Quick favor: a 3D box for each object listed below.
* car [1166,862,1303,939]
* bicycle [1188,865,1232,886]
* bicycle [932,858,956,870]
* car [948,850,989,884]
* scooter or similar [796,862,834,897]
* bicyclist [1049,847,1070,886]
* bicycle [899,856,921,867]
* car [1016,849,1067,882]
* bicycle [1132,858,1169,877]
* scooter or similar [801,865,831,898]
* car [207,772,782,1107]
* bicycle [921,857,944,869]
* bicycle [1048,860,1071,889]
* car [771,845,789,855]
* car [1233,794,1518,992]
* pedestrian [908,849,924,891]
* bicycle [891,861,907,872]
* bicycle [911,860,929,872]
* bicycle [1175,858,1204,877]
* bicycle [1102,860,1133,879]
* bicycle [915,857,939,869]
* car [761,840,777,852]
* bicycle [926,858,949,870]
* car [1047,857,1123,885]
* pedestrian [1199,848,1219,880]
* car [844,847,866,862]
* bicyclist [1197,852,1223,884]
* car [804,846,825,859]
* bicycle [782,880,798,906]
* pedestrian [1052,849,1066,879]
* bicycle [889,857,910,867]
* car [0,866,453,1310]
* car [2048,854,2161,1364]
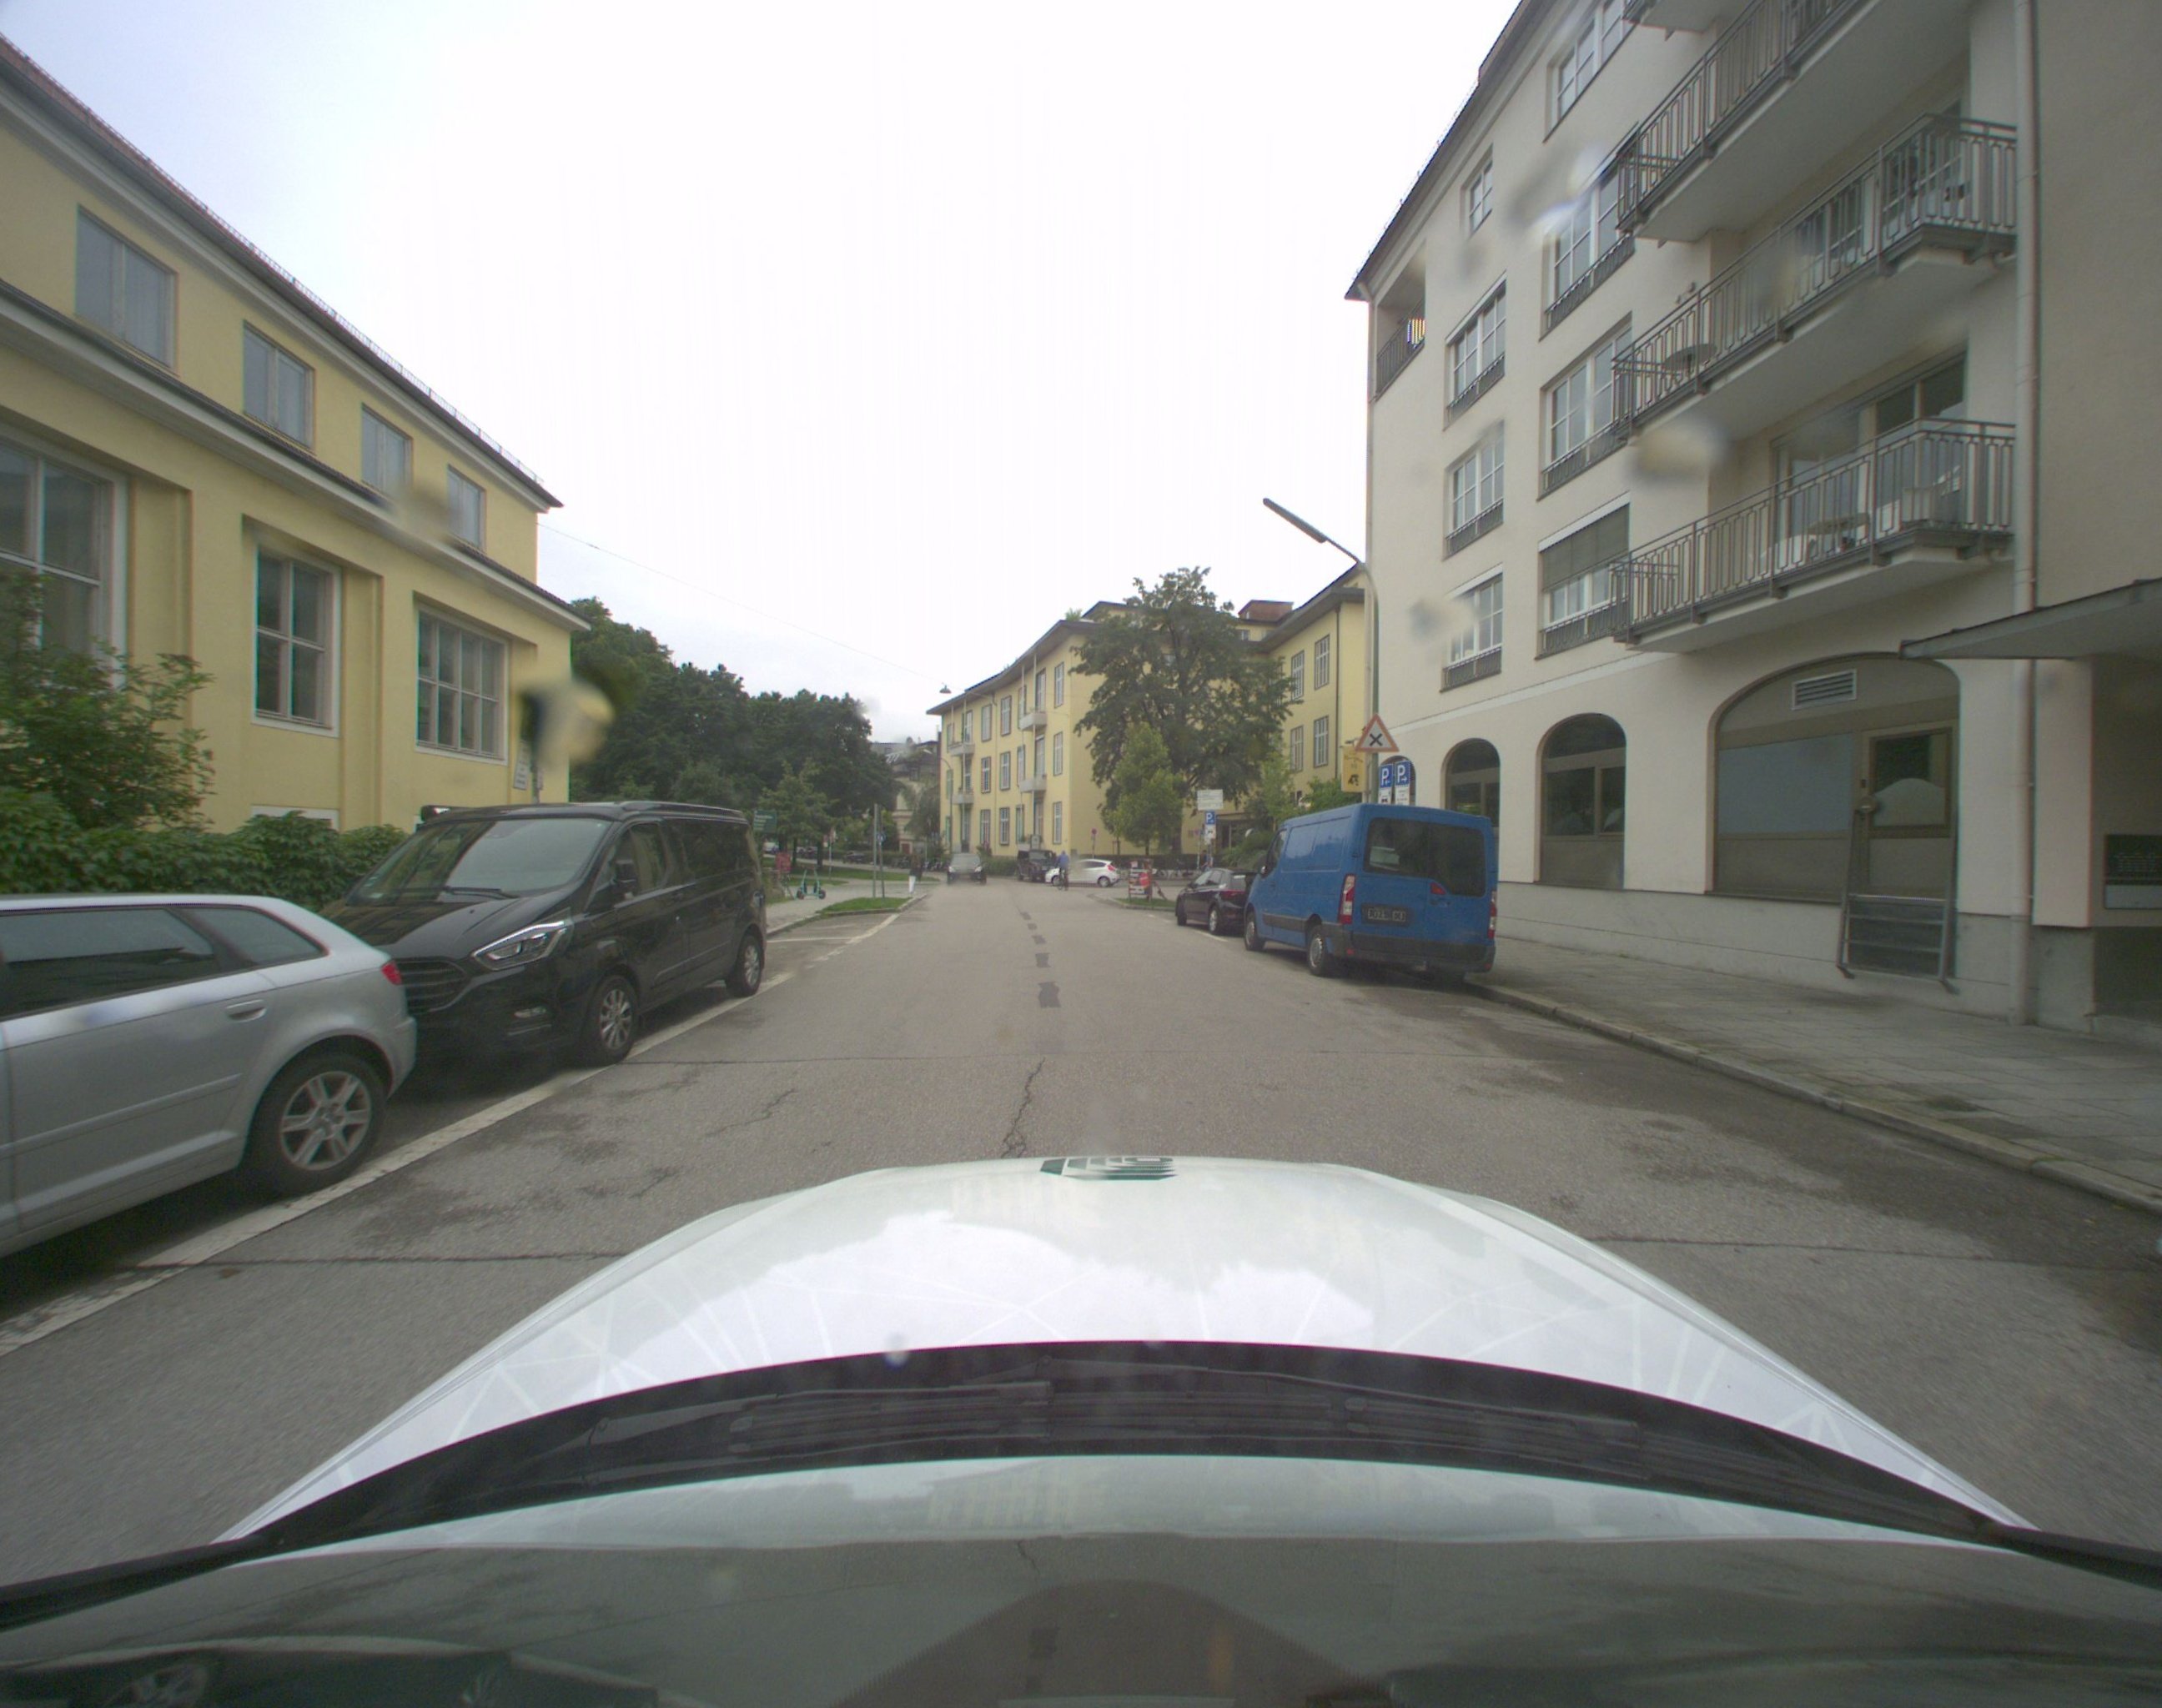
[{"bbox_3d":[3.307,0.968,18.336,1.714,1.394,3.987,4,0,-9],"label":"car"},{"bbox_3d":[6.672,1.092,41.977,2.198,1.019,0.870,0,1,-31],"label":"bicycle"},{"bbox_3d":[-11.638,0.839,69.347,1.989,1.028,0.611,0,0,-44],"label":"bicycle"},{"bbox_3d":[-6.068,0.638,43.473,1.994,1.719,4.598,0,1,-11],"label":"car"},{"bbox_3d":[-9.743,0.936,29.840,1.254,1.244,0.395,0,-2,5],"label":"scooter or similar"},{"bbox_3d":[-1.019,0.560,38.027,0.910,1.764,1.216,0,0,1],"label":"bicyclist"},{"bbox_3d":[-16.221,0.717,77.213,1.989,1.028,0.611,0,0,-44],"label":"bicycle"},{"bbox_3d":[-2.441,0.655,49.072,1.879,1.887,4.588,0,1,-20],"label":"car"},{"bbox_3d":[4.202,0.782,48.899,2.154,1.115,0.642,0,0,10],"label":"bicycle"},{"bbox_3d":[-9.953,1.043,30.588,0.434,1.213,1.059,-1,-2,26],"label":"scooter or similar"},{"bbox_3d":[-4.453,0.489,7.349,1.921,1.979,4.617,-3,1,-3],"label":"car"},{"bbox_3d":[-12.910,0.786,70.835,1.989,1.028,0.611,0,0,-44],"label":"bicycle"},{"bbox_3d":[-0.986,0.937,37.979,0.917,1.252,2.323,0,1,2],"label":"bicycle"},{"bbox_3d":[-48.347,-0.699,130.798,2.007,1.600,4.212,0,1,-31],"label":"car"},{"bbox_3d":[4.037,0.538,12.331,2.105,2.214,5.021,5,-2,-4],"label":"car"},{"bbox_3d":[-6.920,0.666,34.119,0.543,1.697,0.662,-2,0,-18],"label":"pedestrian"},{"bbox_3d":[-17.568,1.204,78.448,0.404,1.014,1.547,0,1,43],"label":"bicycle"},{"bbox_3d":[-14.493,1.096,73.278,0.527,1.028,1.989,0,0,26],"label":"bicycle"},{"bbox_3d":[6.483,0.780,48.676,1.680,1.130,0.459,0,0,-8],"label":"bicycle"},{"bbox_3d":[2.209,0.956,49.922,1.925,1.085,0.532,-2,-1,37],"label":"bicycle"},{"bbox_3d":[-13.566,0.759,71.759,1.989,1.028,0.611,0,0,-44],"label":"bicycle"},{"bbox_3d":[-53.289,-1.394,138.918,2.077,1.966,4.933,0,1,-27],"label":"car"},{"bbox_3d":[-12.295,0.840,69.886,1.989,1.028,0.611,0,0,-44],"label":"bicycle"},{"bbox_3d":[0.214,0.857,42.959,3.689,1.406,1.760,0,0,13],"label":"car"},{"bbox_3d":[7.385,0.560,47.123,0.989,1.809,0.658,0,0,-7],"label":"pedestrian"},{"bbox_3d":[-25.258,0.058,91.000,1.656,1.558,3.527,0,1,-29],"label":"car"},{"bbox_3d":[6.645,0.733,41.959,1.053,1.609,0.869,0,0,-31],"label":"bicyclist"},{"bbox_3d":[-35.296,-0.241,107.786,1.805,1.680,3.960,0,1,-31],"label":"car"},{"bbox_3d":[-10.364,1.377,29.018,0.435,0.893,1.319,0,-2,-25],"label":"bicycle"},{"bbox_3d":[-1.338,0.604,49.365,0.847,1.757,0.952,0,1,-5],"label":"pedestrian"},{"bbox_3d":[-17.480,0.774,78.567,1.989,1.028,0.611,0,0,-44],"label":"bicycle"},{"bbox_3d":[-4.357,0.838,2.459,1.701,1.365,4.001,-4,1,0],"label":"car"},{"bbox_3d":[4.275,0.868,0.623,1.772,1.522,4.299,4,1,-4],"label":"car"}]
